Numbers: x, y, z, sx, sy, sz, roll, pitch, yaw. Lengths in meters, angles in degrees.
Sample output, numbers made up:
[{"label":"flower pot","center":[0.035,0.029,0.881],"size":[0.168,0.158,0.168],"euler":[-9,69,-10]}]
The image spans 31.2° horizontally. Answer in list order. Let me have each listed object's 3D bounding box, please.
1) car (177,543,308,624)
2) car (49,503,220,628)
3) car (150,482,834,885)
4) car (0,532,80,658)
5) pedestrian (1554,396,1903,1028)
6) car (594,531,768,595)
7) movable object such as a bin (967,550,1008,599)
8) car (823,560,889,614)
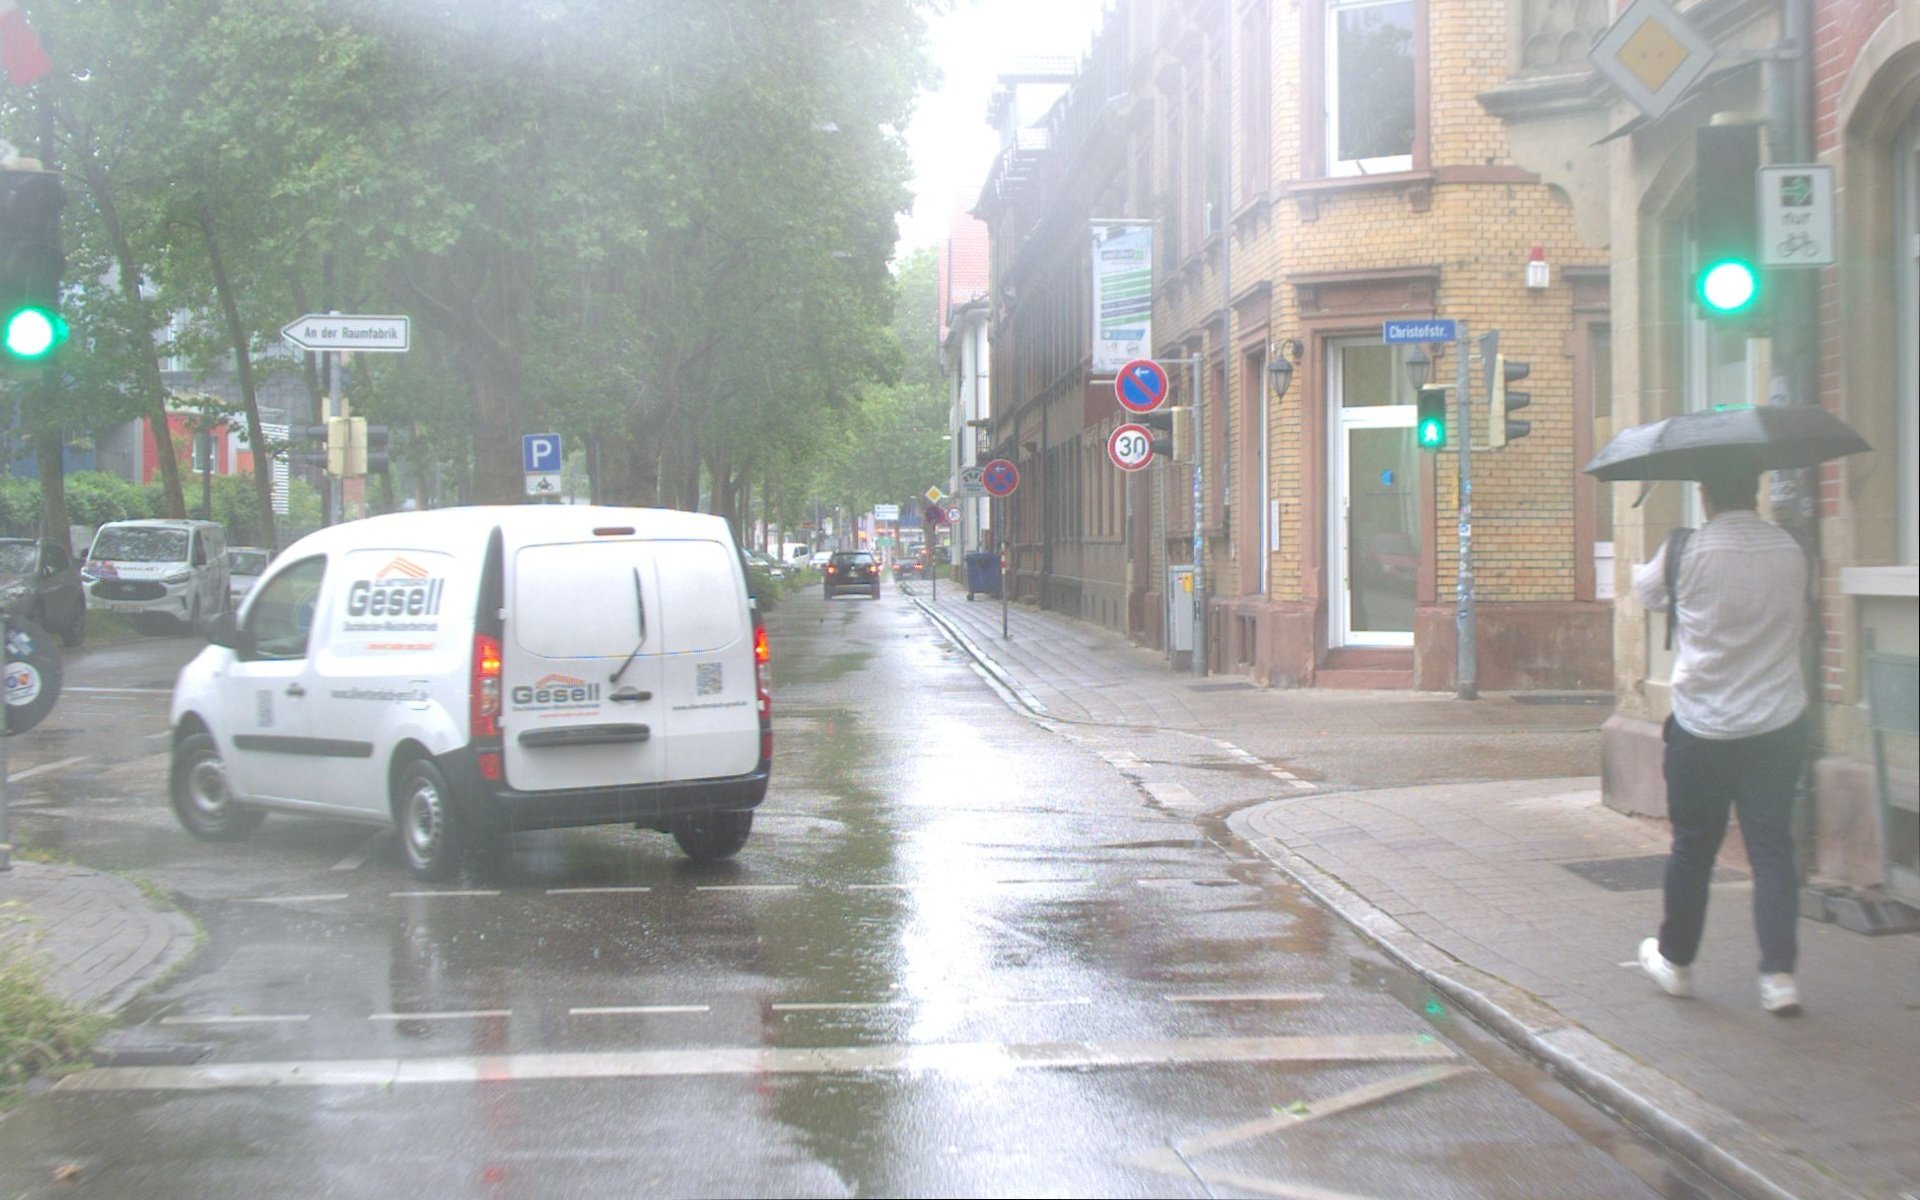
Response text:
[{"label":"car","center":[-14.119,-0.346,67.843],"size":[1.904,1.529,4.216],"euler":[1,1,-3]},{"label":"car","center":[-14.231,-0.622,59.570],"size":[2.053,1.990,5.435],"euler":[2,1,-5]},{"label":"car","center":[-2.557,0.341,17.930],"size":[1.932,1.843,4.066],"euler":[0,1,-34]},{"label":"car","center":[-13.957,-0.096,48.925],"size":[1.873,1.722,4.000],"euler":[1,0,-1]},{"label":"pedestrian","center":[2.452,0.341,11.069],"size":[0.785,1.907,0.929],"euler":[-3,0,-2]},{"label":"car","center":[-7.107,-0.956,87.428],"size":[4.059,1.532,1.832],"euler":[2,1,29]},{"label":"movable object such as a bin","center":[0.777,-0.725,96.522],"size":[1.021,1.297,1.367],"euler":[-3,1,-2]},{"label":"car","center":[-3.295,-0.406,108.749],"size":[1.993,1.634,4.000],"euler":[1,0,-2]}]
